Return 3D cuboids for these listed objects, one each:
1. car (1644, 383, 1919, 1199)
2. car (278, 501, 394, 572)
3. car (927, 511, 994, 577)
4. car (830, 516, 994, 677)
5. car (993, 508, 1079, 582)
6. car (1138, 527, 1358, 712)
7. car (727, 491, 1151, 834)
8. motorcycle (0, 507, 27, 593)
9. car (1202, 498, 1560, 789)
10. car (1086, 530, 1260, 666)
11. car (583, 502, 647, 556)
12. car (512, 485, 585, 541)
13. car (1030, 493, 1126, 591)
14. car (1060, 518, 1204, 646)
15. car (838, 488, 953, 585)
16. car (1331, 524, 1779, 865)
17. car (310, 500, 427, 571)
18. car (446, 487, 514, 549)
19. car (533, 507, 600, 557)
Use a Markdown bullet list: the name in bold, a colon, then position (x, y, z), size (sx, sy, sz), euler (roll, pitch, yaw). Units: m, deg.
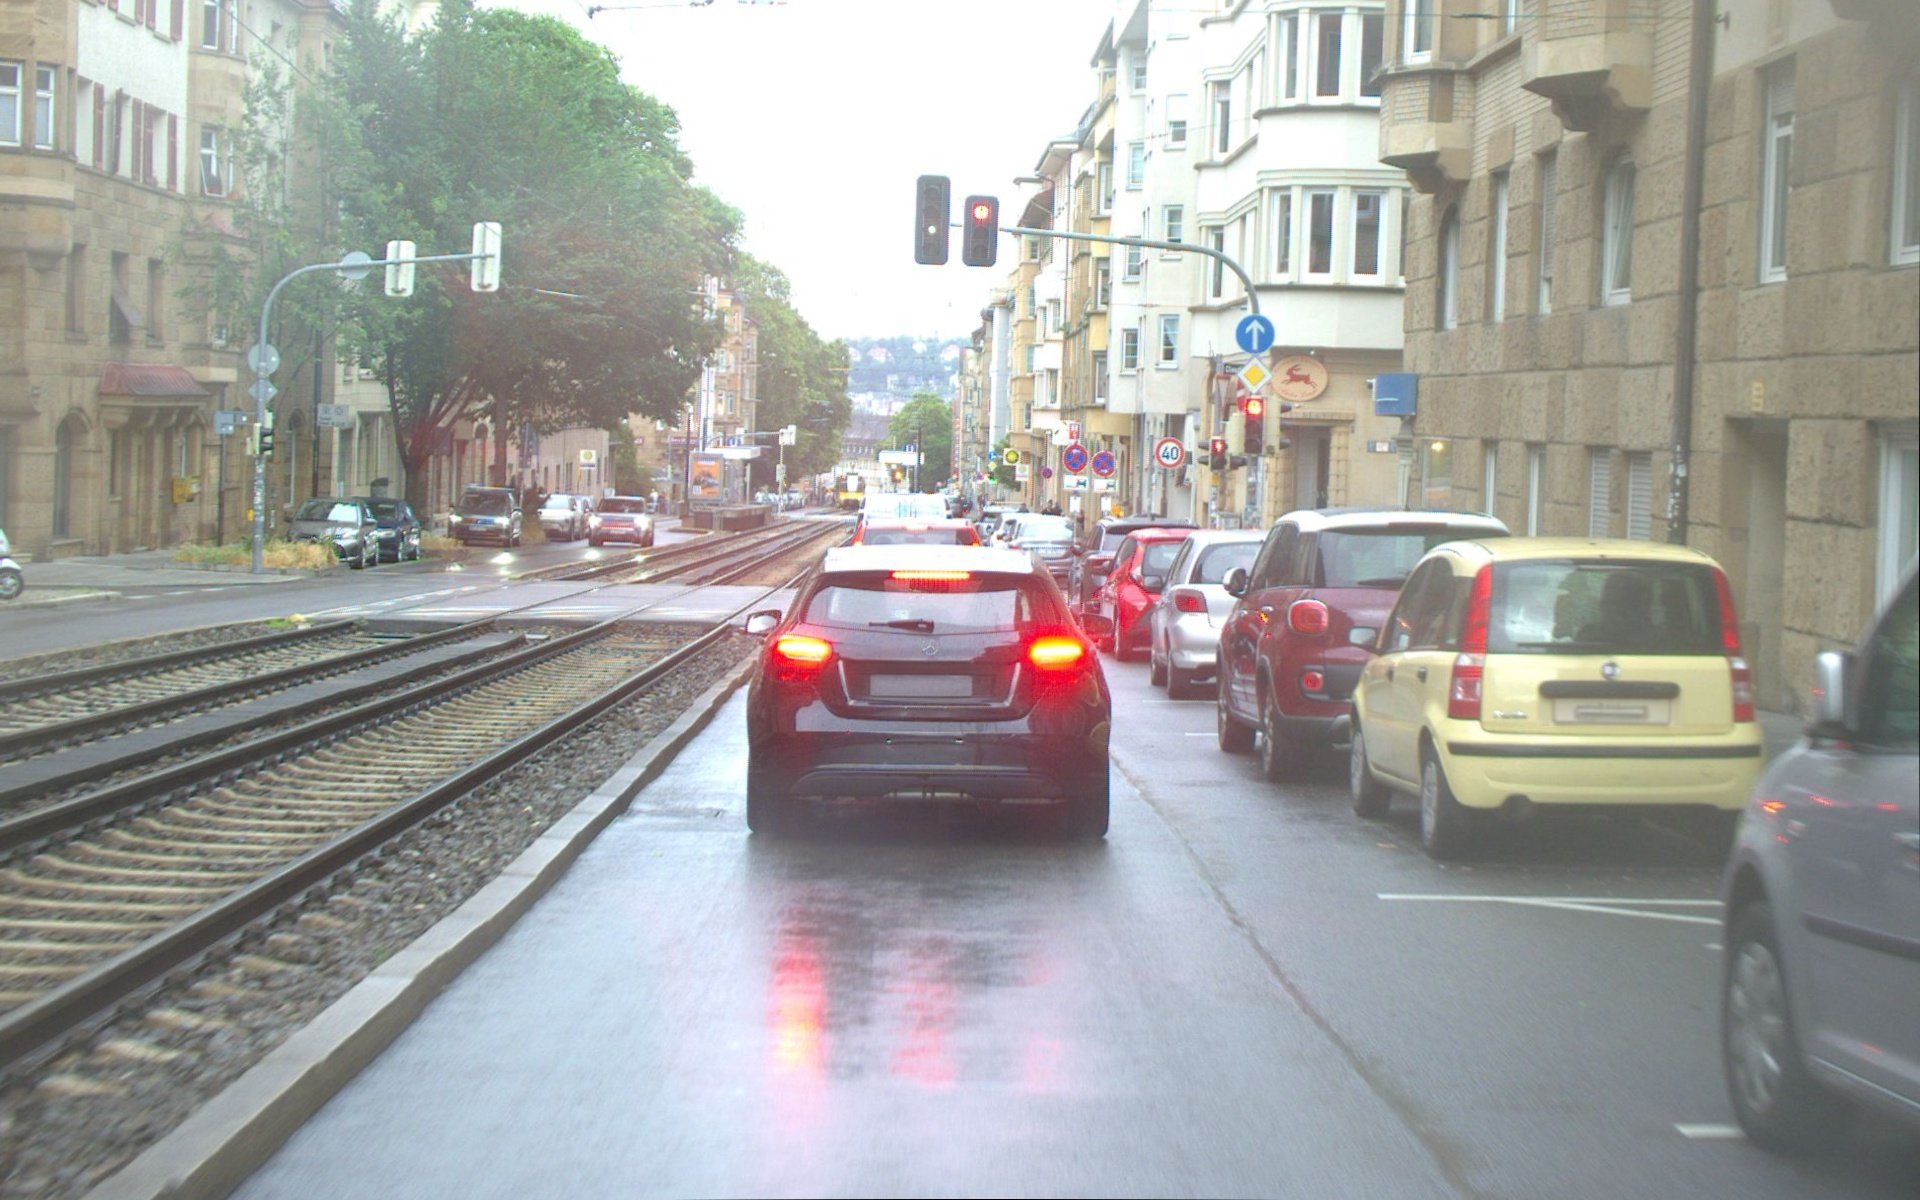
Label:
- **car**: position (2.822, 0.462, 7.071), size (1.774, 1.770, 4.361), euler (1, 1, -2)
- **car**: position (-13.397, -1.344, 74.032), size (1.771, 1.459, 4.000), euler (1, 0, 0)
- **car**: position (0.004, -1.604, 99.056), size (1.852, 1.791, 3.812), euler (1, 0, 0)
- **car**: position (-0.480, -0.070, 35.524), size (1.536, 1.505, 4.000), euler (3, 1, 0)
- **car**: position (1.916, -1.380, 87.614), size (1.768, 1.770, 4.000), euler (1, 0, -4)
- **car**: position (2.579, 0.137, 31.462), size (1.638, 1.537, 3.466), euler (2, 1, -1)
- **car**: position (-0.157, 0.284, 17.891), size (1.946, 1.559, 3.643), euler (1, 0, -2)
- **motorcycle**: position (-13.198, -0.696, 45.776), size (1.439, 1.130, 0.619), euler (3, 1, 29)
- **car**: position (2.597, 0.219, 22.059), size (1.710, 1.623, 4.000), euler (3, 1, 0)
- **car**: position (2.363, -0.049, 38.801), size (1.602, 1.414, 3.149), euler (2, 1, -2)
- **car**: position (-10.540, -2.152, 105.134), size (1.795, 1.543, 4.001), euler (2, 1, -4)
- **car**: position (-14.050, -2.946, 117.539), size (1.993, 1.787, 4.000), euler (3, 1, 0)
- **car**: position (2.561, -1.242, 75.605), size (1.898, 2.021, 4.176), euler (1, 0, 0)
- **car**: position (2.169, -0.253, 44.172), size (1.549, 1.503, 4.000), euler (3, 1, 0)
- **car**: position (-1.211, -1.166, 62.657), size (1.921, 1.649, 4.001), euler (2, 1, -3)
- **car**: position (2.882, 0.400, 17.306), size (1.559, 1.473, 3.461), euler (3, 1, 0)
- **car**: position (-13.615, -1.483, 79.353), size (1.993, 1.512, 4.000), euler (2, 1, 0)
- **car**: position (-13.964, -2.380, 100.169), size (1.789, 1.685, 4.001), euler (2, 1, -6)
- **car**: position (-14.347, -2.480, 125.609), size (1.932, 1.722, 4.186), euler (3, 1, 0)
